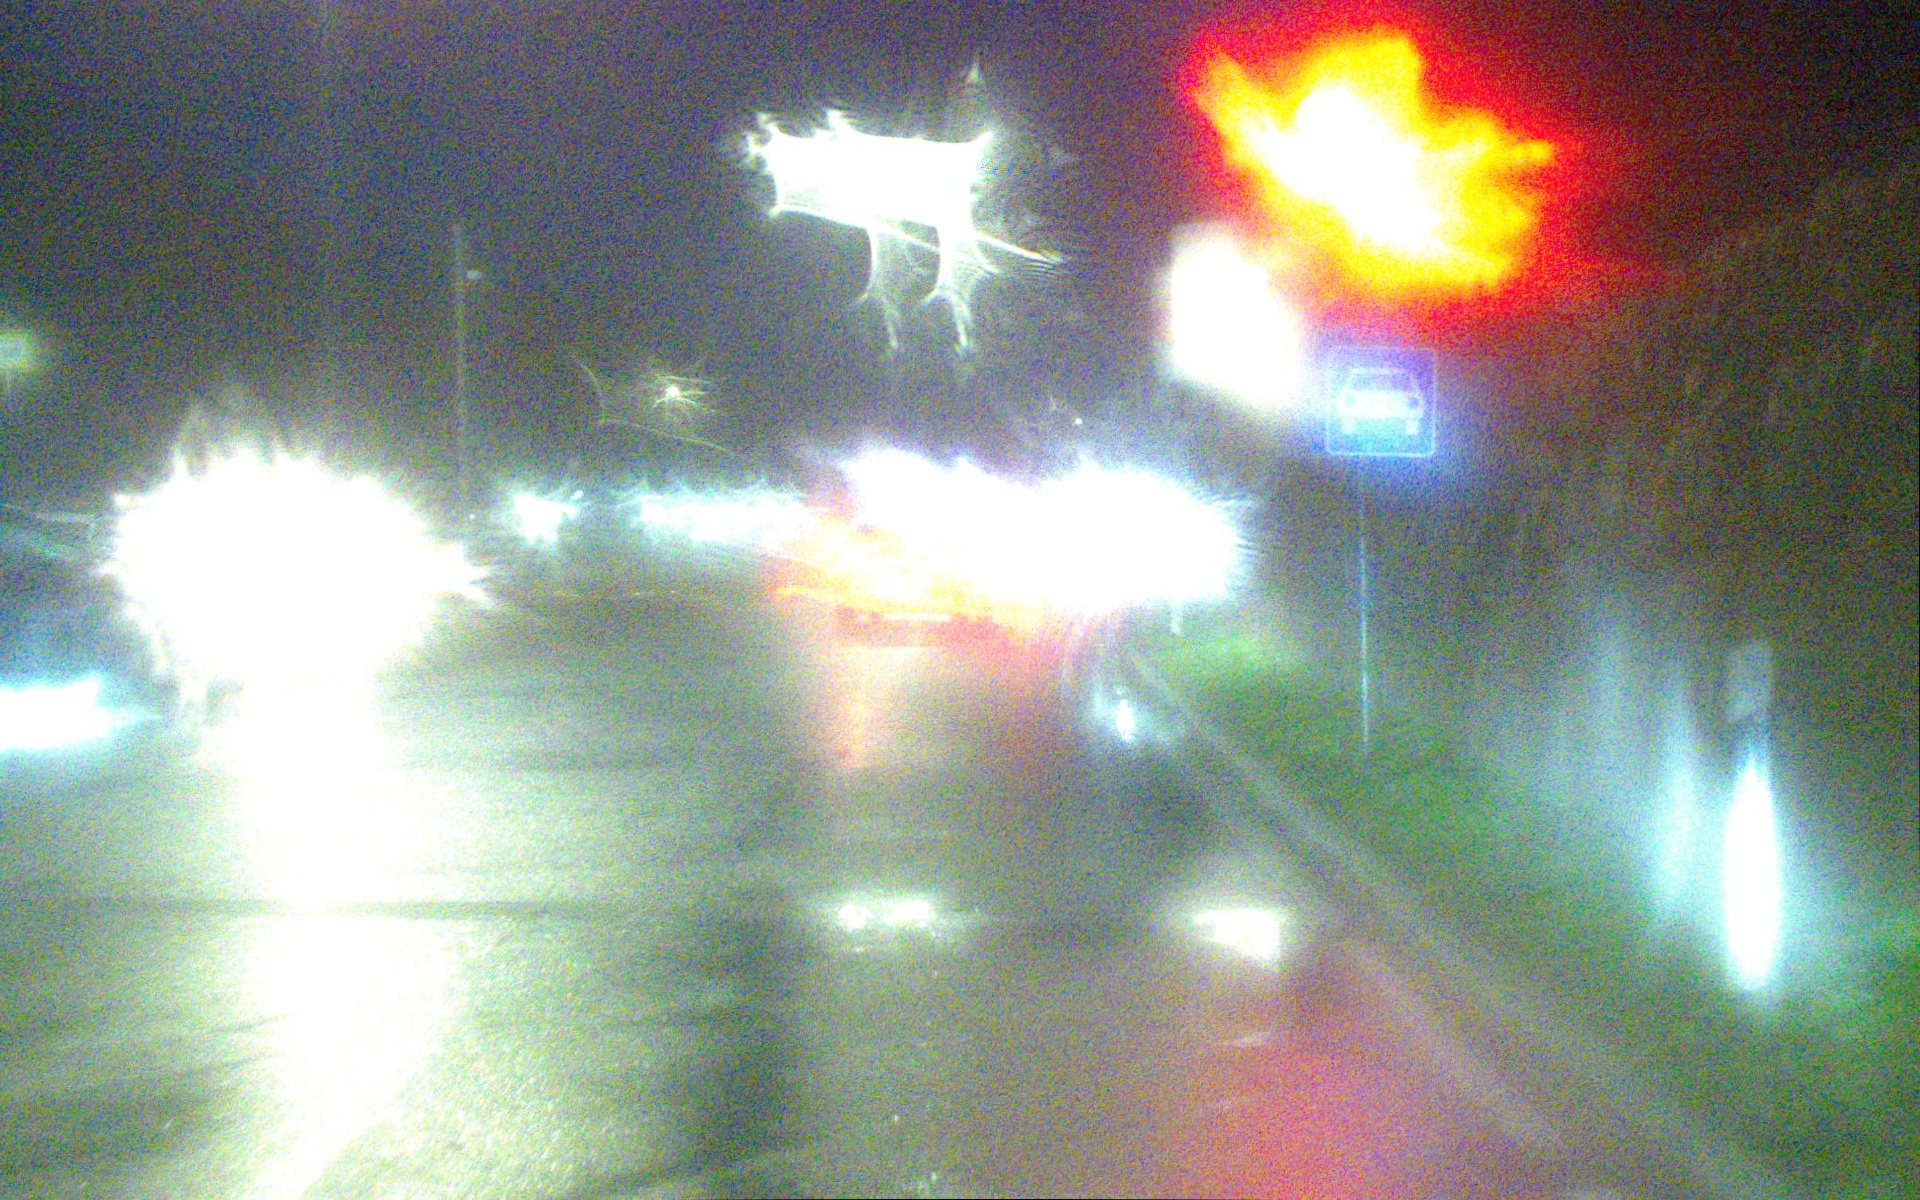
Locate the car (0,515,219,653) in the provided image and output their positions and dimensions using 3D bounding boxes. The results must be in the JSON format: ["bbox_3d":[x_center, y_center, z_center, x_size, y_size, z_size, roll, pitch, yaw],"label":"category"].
[{"bbox_3d":[-10.302,-0.231,41.421,1.699,1.566,4.712,0,1,0],"label":"car"}]

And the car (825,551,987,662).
[{"bbox_3d":[-0.689,0.075,46.604,2.103,1.434,4.000,0,0,0],"label":"car"}]

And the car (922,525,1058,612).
[{"bbox_3d":[0.473,-0.503,55.629,2.107,1.335,4.294,0,0,0],"label":"car"}]

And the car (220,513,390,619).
[{"bbox_3d":[-9.656,-0.497,50.912,1.585,1.520,3.651,0,0,4],"label":"car"}]

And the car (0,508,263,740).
[{"bbox_3d":[-7.291,0.157,24.510,4.090,1.605,2.000,0,0,-36],"label":"car"}]
